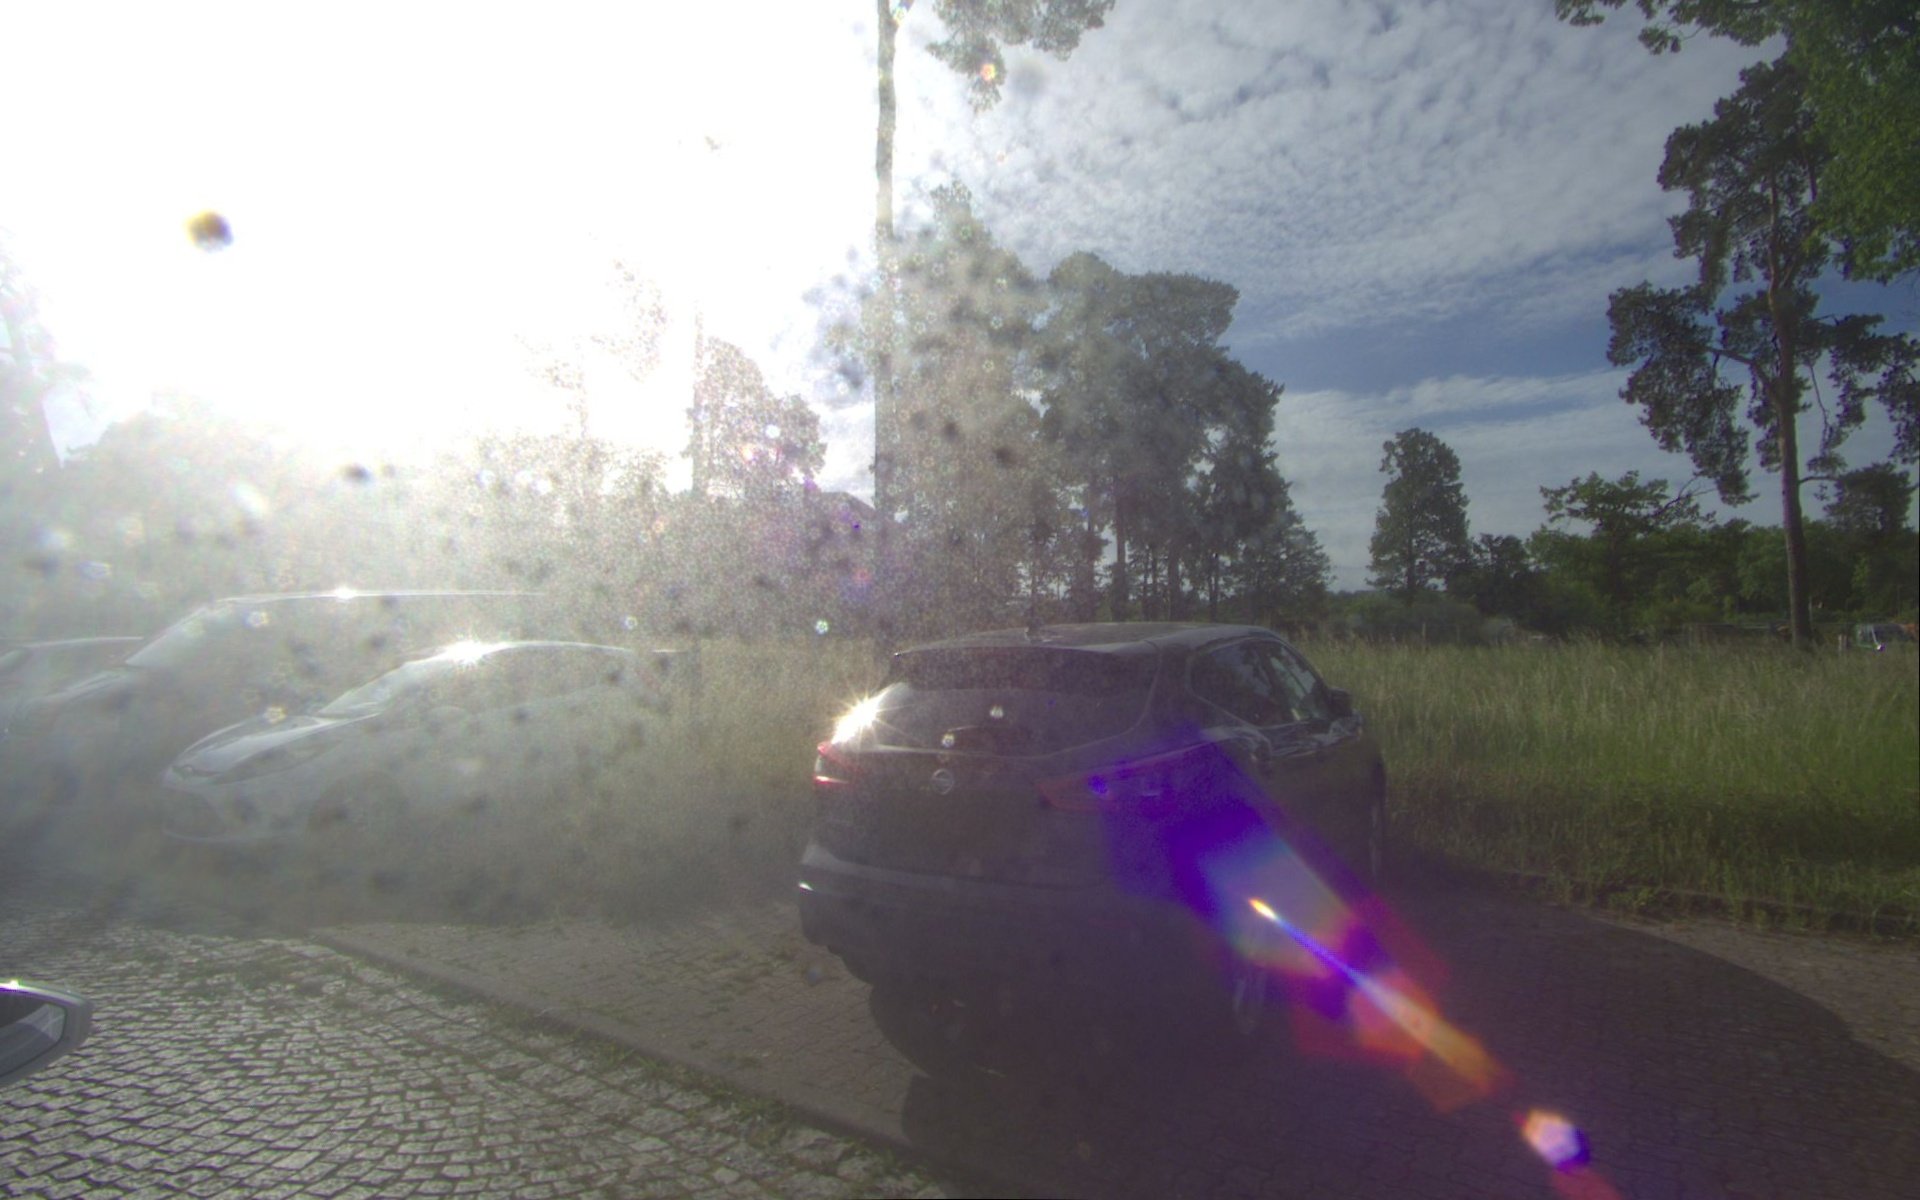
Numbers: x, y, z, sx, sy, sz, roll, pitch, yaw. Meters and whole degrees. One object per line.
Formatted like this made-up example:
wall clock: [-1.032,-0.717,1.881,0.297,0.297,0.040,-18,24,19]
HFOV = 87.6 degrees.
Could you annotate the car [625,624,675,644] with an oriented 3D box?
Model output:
car: [-27.057,2.978,87.498,1.830,1.701,3.926,-1,-2,31]

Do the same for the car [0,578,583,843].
car: [-6.376,0.820,9.884,1.964,1.954,4.722,-1,0,33]

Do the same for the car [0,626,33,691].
car: [-23.520,1.334,21.856,1.867,1.492,4.502,-1,-1,29]

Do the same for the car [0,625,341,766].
car: [-10.581,1.129,13.093,1.783,1.550,3.865,-1,-1,34]

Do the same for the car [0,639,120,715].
car: [-17.540,1.373,17.620,1.703,1.277,3.941,-1,-1,34]

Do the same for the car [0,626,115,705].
car: [-19.268,1.271,19.260,1.716,1.492,4.331,-1,-1,33]

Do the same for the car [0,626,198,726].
car: [-15.197,1.211,16.448,1.748,1.514,3.941,-1,-1,34]

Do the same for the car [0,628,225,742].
car: [-13.160,1.174,14.300,1.806,1.486,3.941,-1,-1,34]

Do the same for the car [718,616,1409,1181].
car: [0.963,0.901,5.129,1.851,1.609,4.182,-1,-1,32]

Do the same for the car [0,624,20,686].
car: [-25.473,1.356,23.598,1.905,1.524,4.536,-1,-1,32]

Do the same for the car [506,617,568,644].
car: [-40.488,2.930,95.983,2.234,2.568,5.146,-1,-2,35]

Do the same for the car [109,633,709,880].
car: [-4.293,1.058,8.541,1.781,1.488,4.185,-1,-1,30]

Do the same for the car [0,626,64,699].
car: [-21.309,1.306,20.231,1.824,1.492,4.497,-1,-1,33]

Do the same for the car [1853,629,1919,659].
car: [65.204,3.044,70.143,2.592,2.039,5.646,-1,-2,27]
